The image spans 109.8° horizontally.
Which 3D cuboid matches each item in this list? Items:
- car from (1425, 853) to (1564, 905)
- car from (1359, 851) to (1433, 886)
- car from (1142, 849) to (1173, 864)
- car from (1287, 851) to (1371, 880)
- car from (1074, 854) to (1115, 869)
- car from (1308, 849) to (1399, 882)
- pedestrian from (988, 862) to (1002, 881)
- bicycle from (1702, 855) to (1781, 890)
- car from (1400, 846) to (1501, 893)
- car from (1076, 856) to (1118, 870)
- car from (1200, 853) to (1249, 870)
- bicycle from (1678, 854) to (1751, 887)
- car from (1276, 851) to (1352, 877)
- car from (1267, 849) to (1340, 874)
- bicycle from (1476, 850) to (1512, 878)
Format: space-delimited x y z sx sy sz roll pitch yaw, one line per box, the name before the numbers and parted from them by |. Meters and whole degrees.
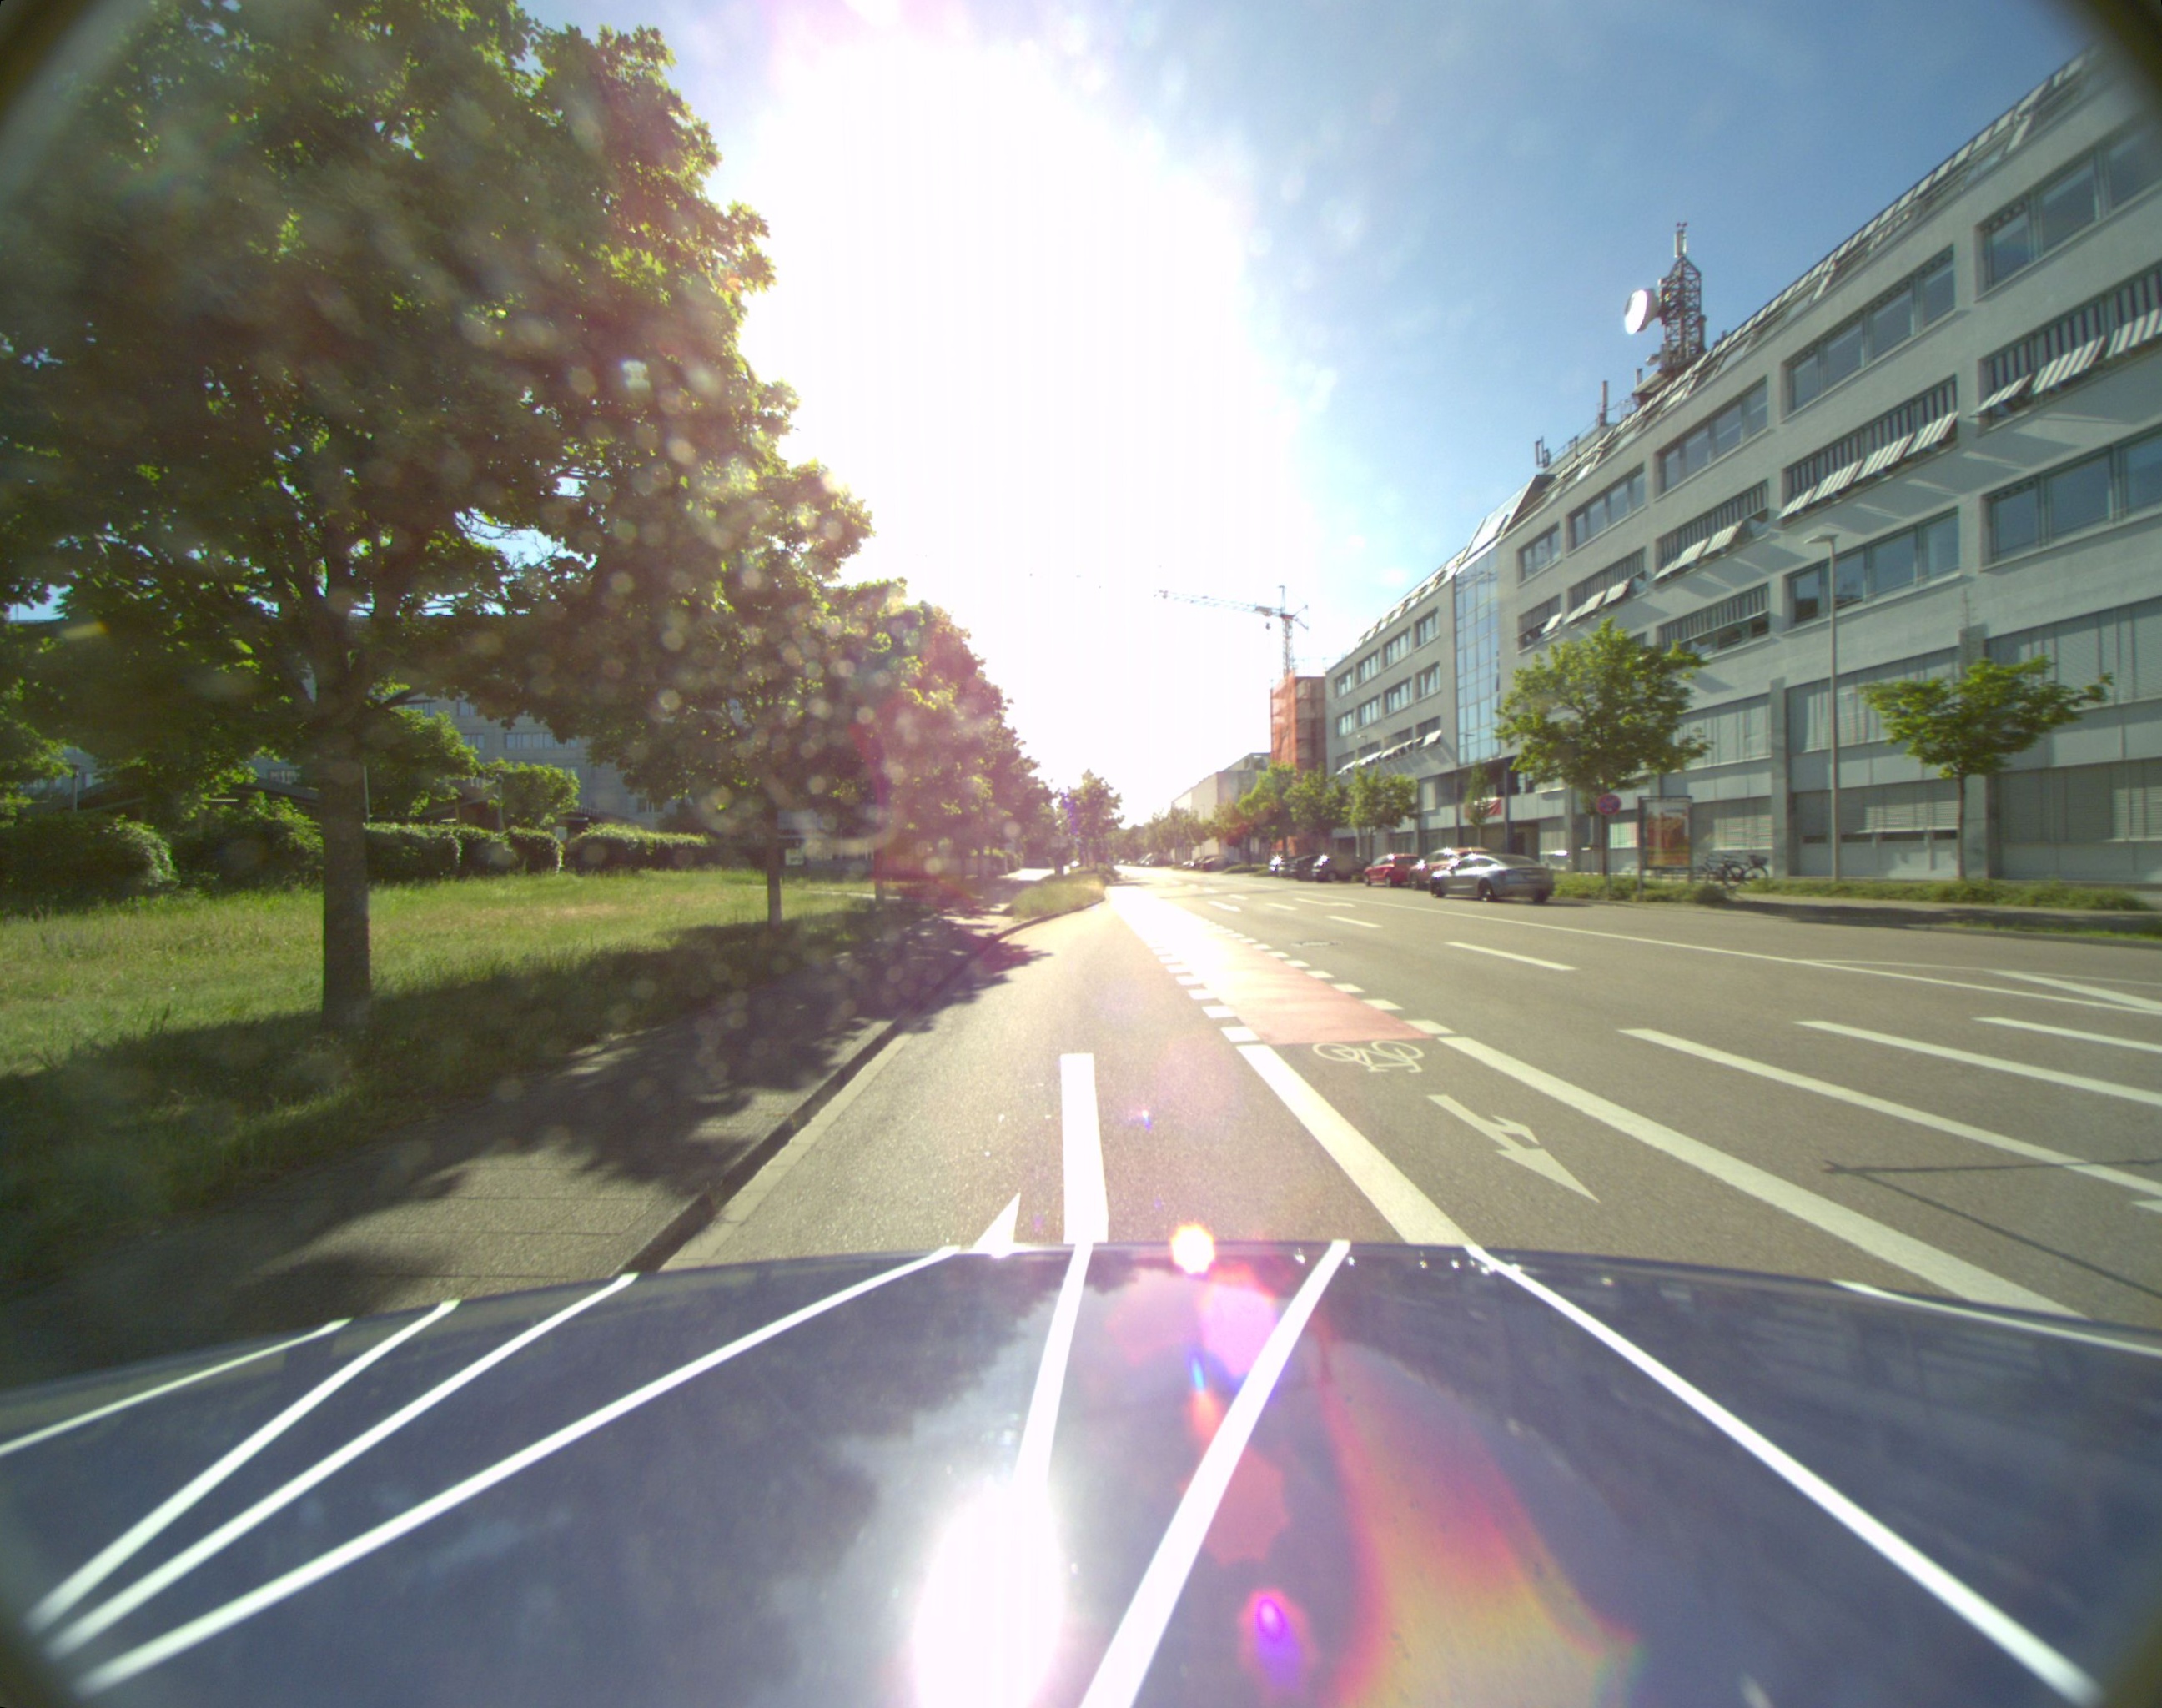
car | 12.804 0.719 23.904 1.693 1.460 4.546 0 0 -3
car | 14.359 0.646 34.868 1.692 1.423 3.871 -3 0 0
car | 14.183 0.426 141.137 5.583 2.468 2.010 -3 0 2
car | 14.769 0.677 45.416 4.397 1.423 1.693 -3 0 -3
car | 1.451 0.834 82.926 4.413 1.631 2.074 0 0 0
car | 15.135 0.614 42.367 4.398 1.529 1.693 -3 0 -5
pedestrian | -5.769 1.172 50.780 0.847 1.210 0.728 0 0 -13
bicycle | 20.372 0.553 23.467 1.792 1.063 0.622 0 0 7
car | 14.439 0.570 29.946 1.692 1.597 4.310 -3 0 -2
car | 1.639 0.946 80.642 4.413 1.454 1.895 0 0 0
car | 14.324 0.713 75.920 4.398 1.423 1.977 -3 0 -4
bicycle | 20.188 0.516 24.240 1.770 1.063 0.556 0 0 7
car | 15.225 0.615 49.801 4.397 1.423 1.693 -3 0 -2
car | 15.190 0.533 51.951 4.397 1.423 1.693 -3 0 -2
bicycle | 20.240 0.483 37.282 0.710 1.339 2.233 0 0 5
